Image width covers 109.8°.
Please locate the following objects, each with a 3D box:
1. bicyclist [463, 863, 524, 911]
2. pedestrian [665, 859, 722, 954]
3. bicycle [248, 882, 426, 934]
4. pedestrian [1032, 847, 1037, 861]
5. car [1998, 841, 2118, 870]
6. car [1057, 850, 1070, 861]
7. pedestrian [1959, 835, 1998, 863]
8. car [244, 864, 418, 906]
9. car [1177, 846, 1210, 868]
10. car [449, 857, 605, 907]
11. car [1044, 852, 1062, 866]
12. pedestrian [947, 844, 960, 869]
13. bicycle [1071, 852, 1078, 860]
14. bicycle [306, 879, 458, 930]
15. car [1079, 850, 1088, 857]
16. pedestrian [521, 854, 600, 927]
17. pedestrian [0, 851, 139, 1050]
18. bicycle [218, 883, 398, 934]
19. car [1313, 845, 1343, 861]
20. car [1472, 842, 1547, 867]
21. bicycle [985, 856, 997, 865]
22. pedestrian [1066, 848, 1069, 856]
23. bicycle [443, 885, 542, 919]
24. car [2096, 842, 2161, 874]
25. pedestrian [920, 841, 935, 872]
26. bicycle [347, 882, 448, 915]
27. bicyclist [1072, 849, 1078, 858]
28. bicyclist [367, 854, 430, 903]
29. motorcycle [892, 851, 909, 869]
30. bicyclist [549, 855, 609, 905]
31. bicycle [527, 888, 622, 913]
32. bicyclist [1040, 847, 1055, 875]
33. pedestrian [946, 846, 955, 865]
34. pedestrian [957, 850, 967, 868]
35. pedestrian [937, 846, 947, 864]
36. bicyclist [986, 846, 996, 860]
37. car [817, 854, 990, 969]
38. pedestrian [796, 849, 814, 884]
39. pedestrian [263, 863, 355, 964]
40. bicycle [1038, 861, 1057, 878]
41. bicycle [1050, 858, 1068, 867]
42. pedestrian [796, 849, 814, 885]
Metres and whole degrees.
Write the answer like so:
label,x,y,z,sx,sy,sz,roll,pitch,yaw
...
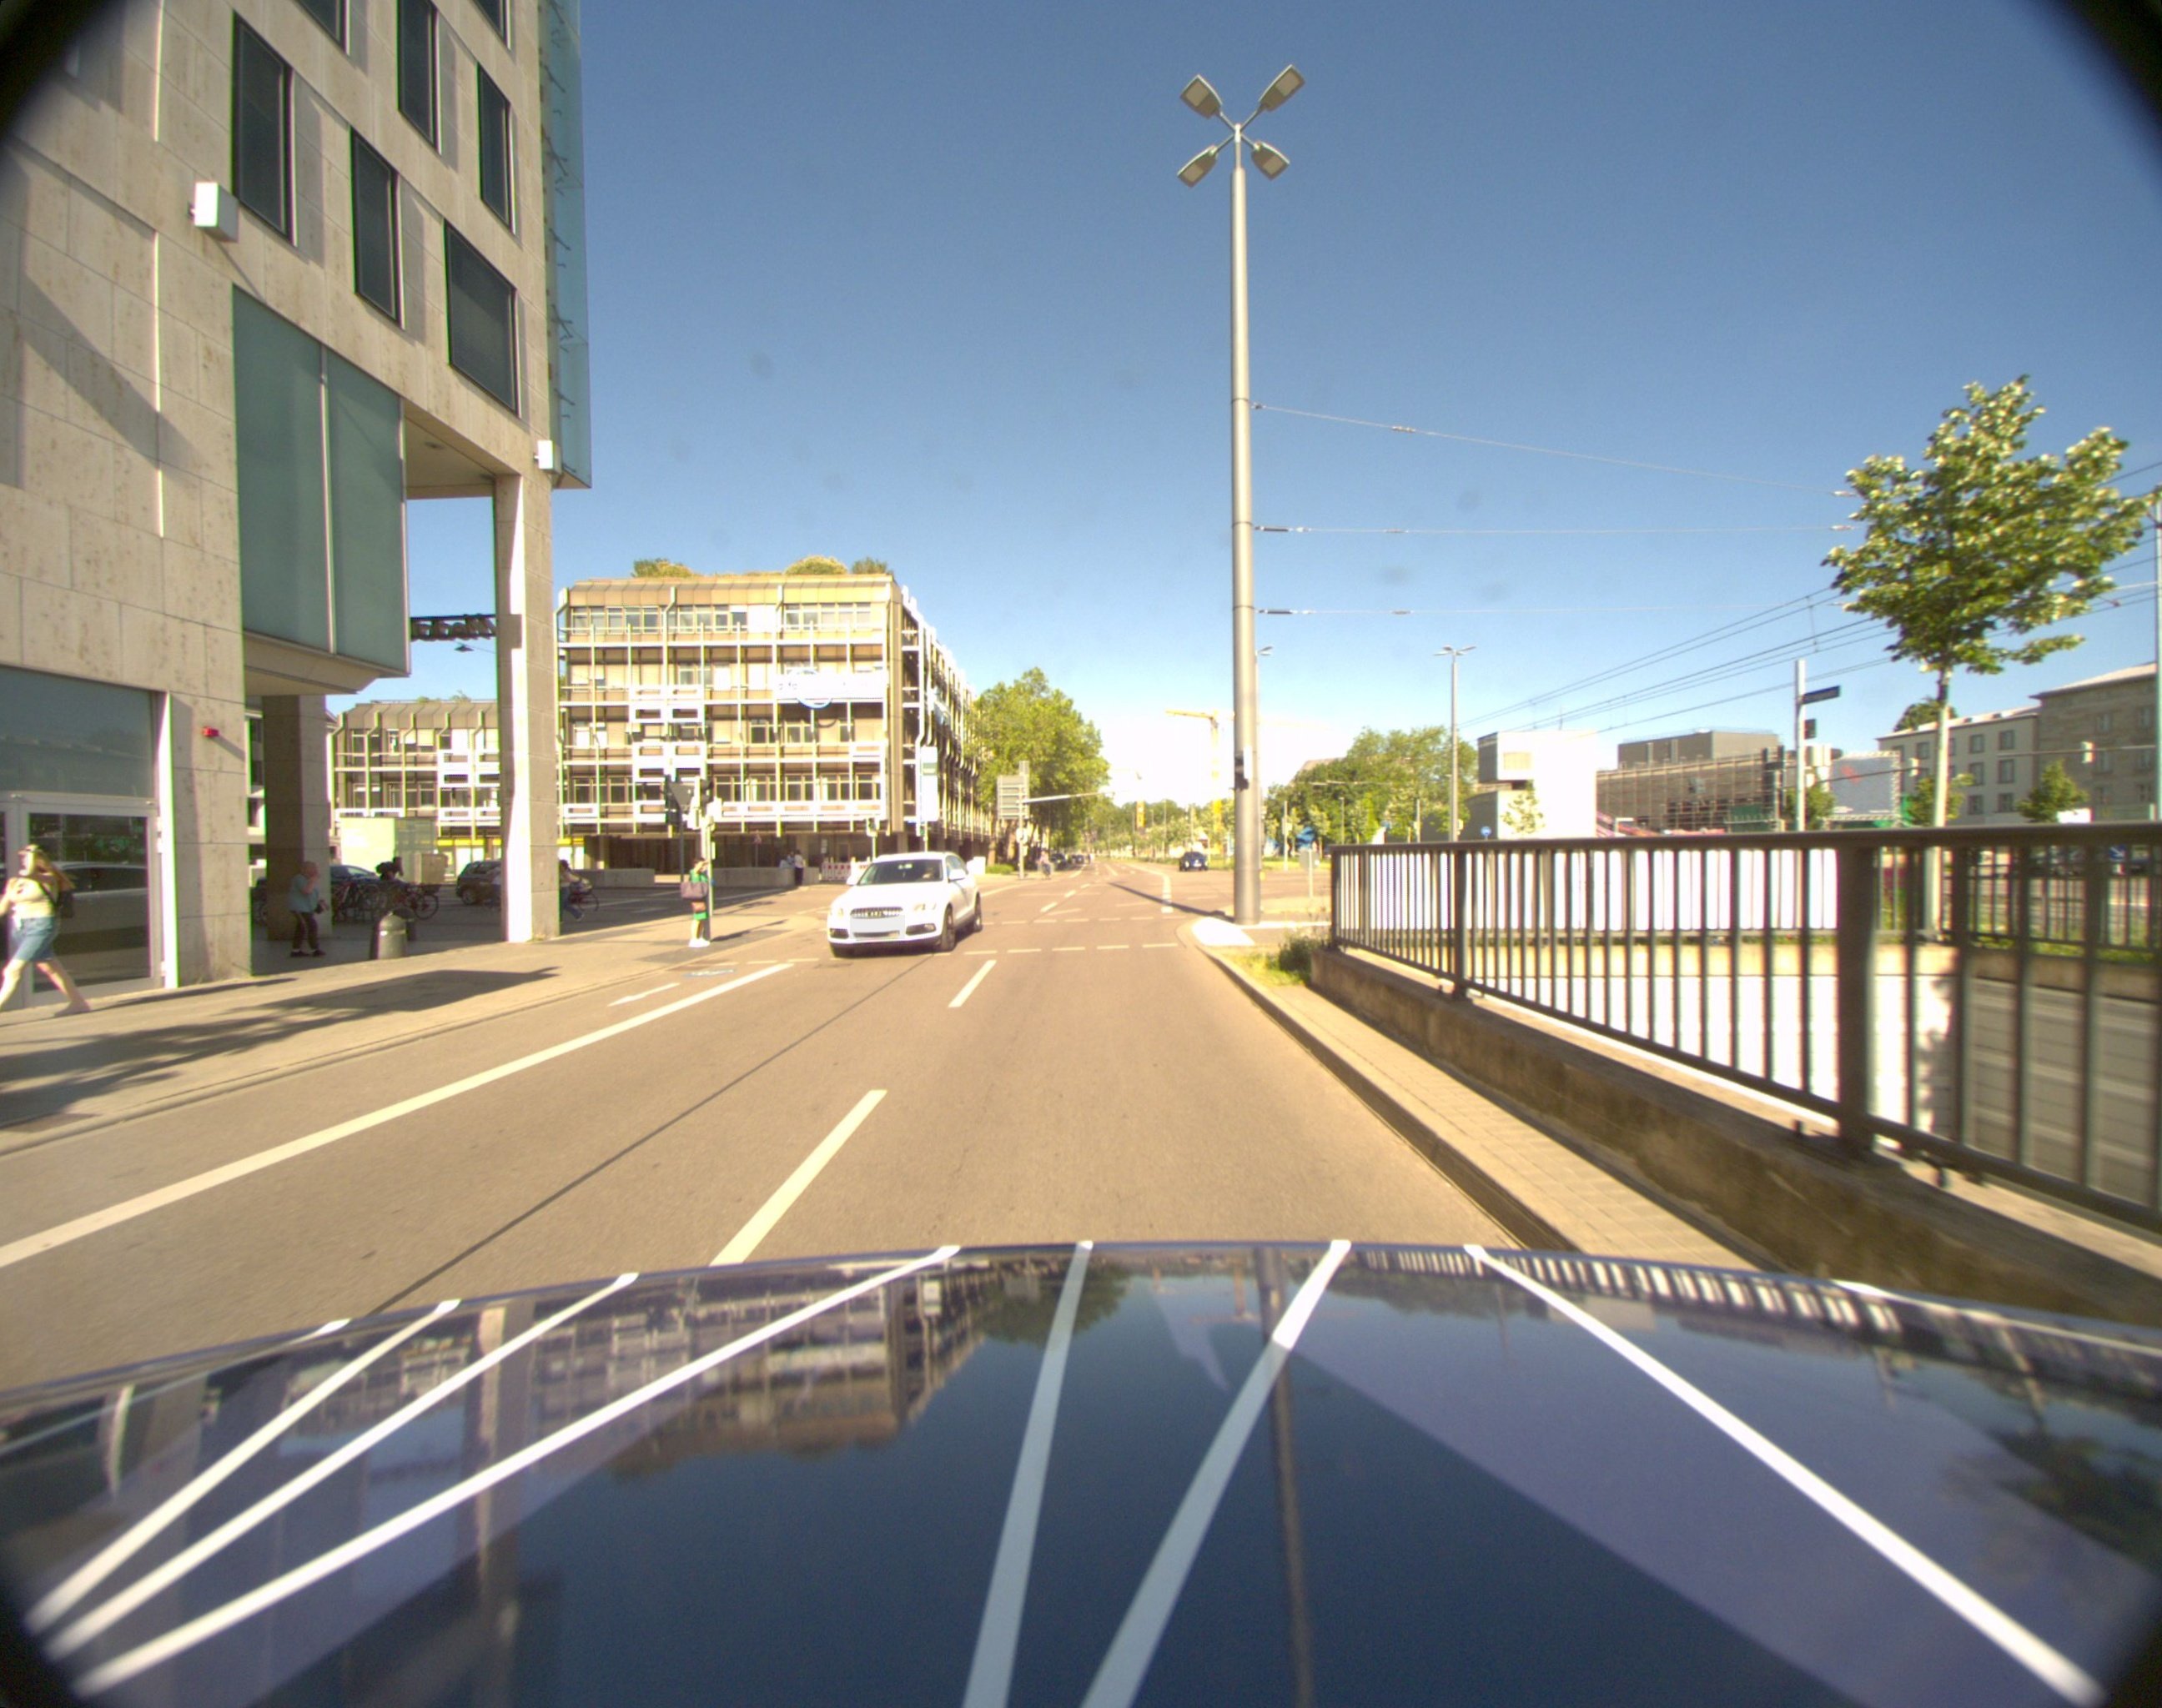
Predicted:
label,x,y,z,sx,sy,sz,roll,pitch,yaw
bicyclist,-17.827,0.983,23.080,0.935,1.388,1.077,-1,1,5
pedestrian,-7.131,0.953,14.011,0.658,1.692,0.698,2,1,-1
bicycle,-19.202,1.351,19.823,1.068,1.087,3.498,-1,0,3
pedestrian,-7.154,0.003,117.642,0.741,2.002,0.626,-1,1,0
car,54.565,0.056,42.510,3.995,1.530,1.904,-1,1,6
car,-2.614,0.165,111.994,1.752,1.545,4.337,0,0,1
pedestrian,54.599,-0.303,46.215,1.195,1.675,0.948,-2,-1,2
car,-27.367,1.113,27.807,4.615,1.413,1.860,0,2,3
car,8.803,0.237,59.624,1.775,1.579,4.087,-3,0,-2
car,-19.715,0.968,27.147,4.194,1.603,1.860,-1,2,3
car,-3.220,0.574,87.906,1.752,1.481,4.560,0,0,1
pedestrian,-10.078,0.197,60.131,0.949,2.002,1.079,-1,1,-6
bicycle,-0.913,0.350,111.873,0.845,1.123,2.553,-1,0,2
bicycle,-18.030,1.267,19.771,1.068,1.087,2.991,-1,0,3
car,0.562,-0.057,174.061,1.999,1.598,3.896,-1,0,-1
pedestrian,-13.384,0.907,19.603,0.969,1.791,1.523,1,1,1
pedestrian,-10.134,0.872,7.338,0.729,1.791,1.066,1,1,1
bicycle,-20.353,1.389,20.212,1.068,1.087,3.498,-1,0,3
car,27.841,-0.134,85.868,1.998,1.697,4.560,-1,1,2
car,28.259,0.014,50.315,1.999,1.552,4.828,-1,0,-4
bicycle,-9.465,0.675,79.947,0.883,0.979,2.051,-1,0,1
pedestrian,-2.906,-0.396,164.084,0.591,1.830,0.569,-1,1,1
bicycle,-17.860,1.444,23.085,2.198,0.938,1.072,-1,1,5
car,53.886,0.164,37.775,3.995,1.530,1.904,-1,1,6
pedestrian,-10.348,0.168,51.210,0.950,2.002,1.078,-1,1,-10
bicycle,-20.891,1.354,23.254,2.198,0.927,1.030,-1,1,5
bicyclist,-0.912,-0.065,111.871,0.830,1.380,0.904,-1,1,1
bicyclist,-20.851,0.733,23.249,0.935,1.425,1.041,-1,1,5
motorcycle,-14.673,0.448,61.839,0.825,1.433,2.122,-1,1,1
bicyclist,-15.175,0.762,23.003,1.024,1.467,1.072,-1,1,5
bicycle,-15.339,1.407,23.041,2.198,0.667,1.072,-1,1,5
bicyclist,-2.129,0.430,48.148,0.710,1.678,0.853,-3,1,11
pedestrian,-11.470,0.138,66.847,0.667,1.591,0.728,1,1,2
pedestrian,-10.463,0.419,66.734,0.667,1.591,0.728,1,1,2
pedestrian,-12.199,0.100,66.837,0.667,1.591,1.009,1,1,2
bicyclist,-9.472,-0.106,79.842,0.883,1.468,0.883,-1,1,1
car,-2.923,0.862,13.588,1.824,1.604,4.413,-3,0,2
pedestrian,-12.689,0.572,34.985,0.662,1.603,0.526,1,1,-8
pedestrian,-12.679,0.954,12.496,0.725,1.598,0.750,-1,0,2
bicycle,-2.120,0.945,48.123,0.710,0.987,1.925,-3,0,12
bicycle,-2.291,0.876,79.989,1.848,0.955,0.711,1,0,-3
pedestrian,-12.479,0.563,34.362,0.662,1.603,0.526,1,1,-8
